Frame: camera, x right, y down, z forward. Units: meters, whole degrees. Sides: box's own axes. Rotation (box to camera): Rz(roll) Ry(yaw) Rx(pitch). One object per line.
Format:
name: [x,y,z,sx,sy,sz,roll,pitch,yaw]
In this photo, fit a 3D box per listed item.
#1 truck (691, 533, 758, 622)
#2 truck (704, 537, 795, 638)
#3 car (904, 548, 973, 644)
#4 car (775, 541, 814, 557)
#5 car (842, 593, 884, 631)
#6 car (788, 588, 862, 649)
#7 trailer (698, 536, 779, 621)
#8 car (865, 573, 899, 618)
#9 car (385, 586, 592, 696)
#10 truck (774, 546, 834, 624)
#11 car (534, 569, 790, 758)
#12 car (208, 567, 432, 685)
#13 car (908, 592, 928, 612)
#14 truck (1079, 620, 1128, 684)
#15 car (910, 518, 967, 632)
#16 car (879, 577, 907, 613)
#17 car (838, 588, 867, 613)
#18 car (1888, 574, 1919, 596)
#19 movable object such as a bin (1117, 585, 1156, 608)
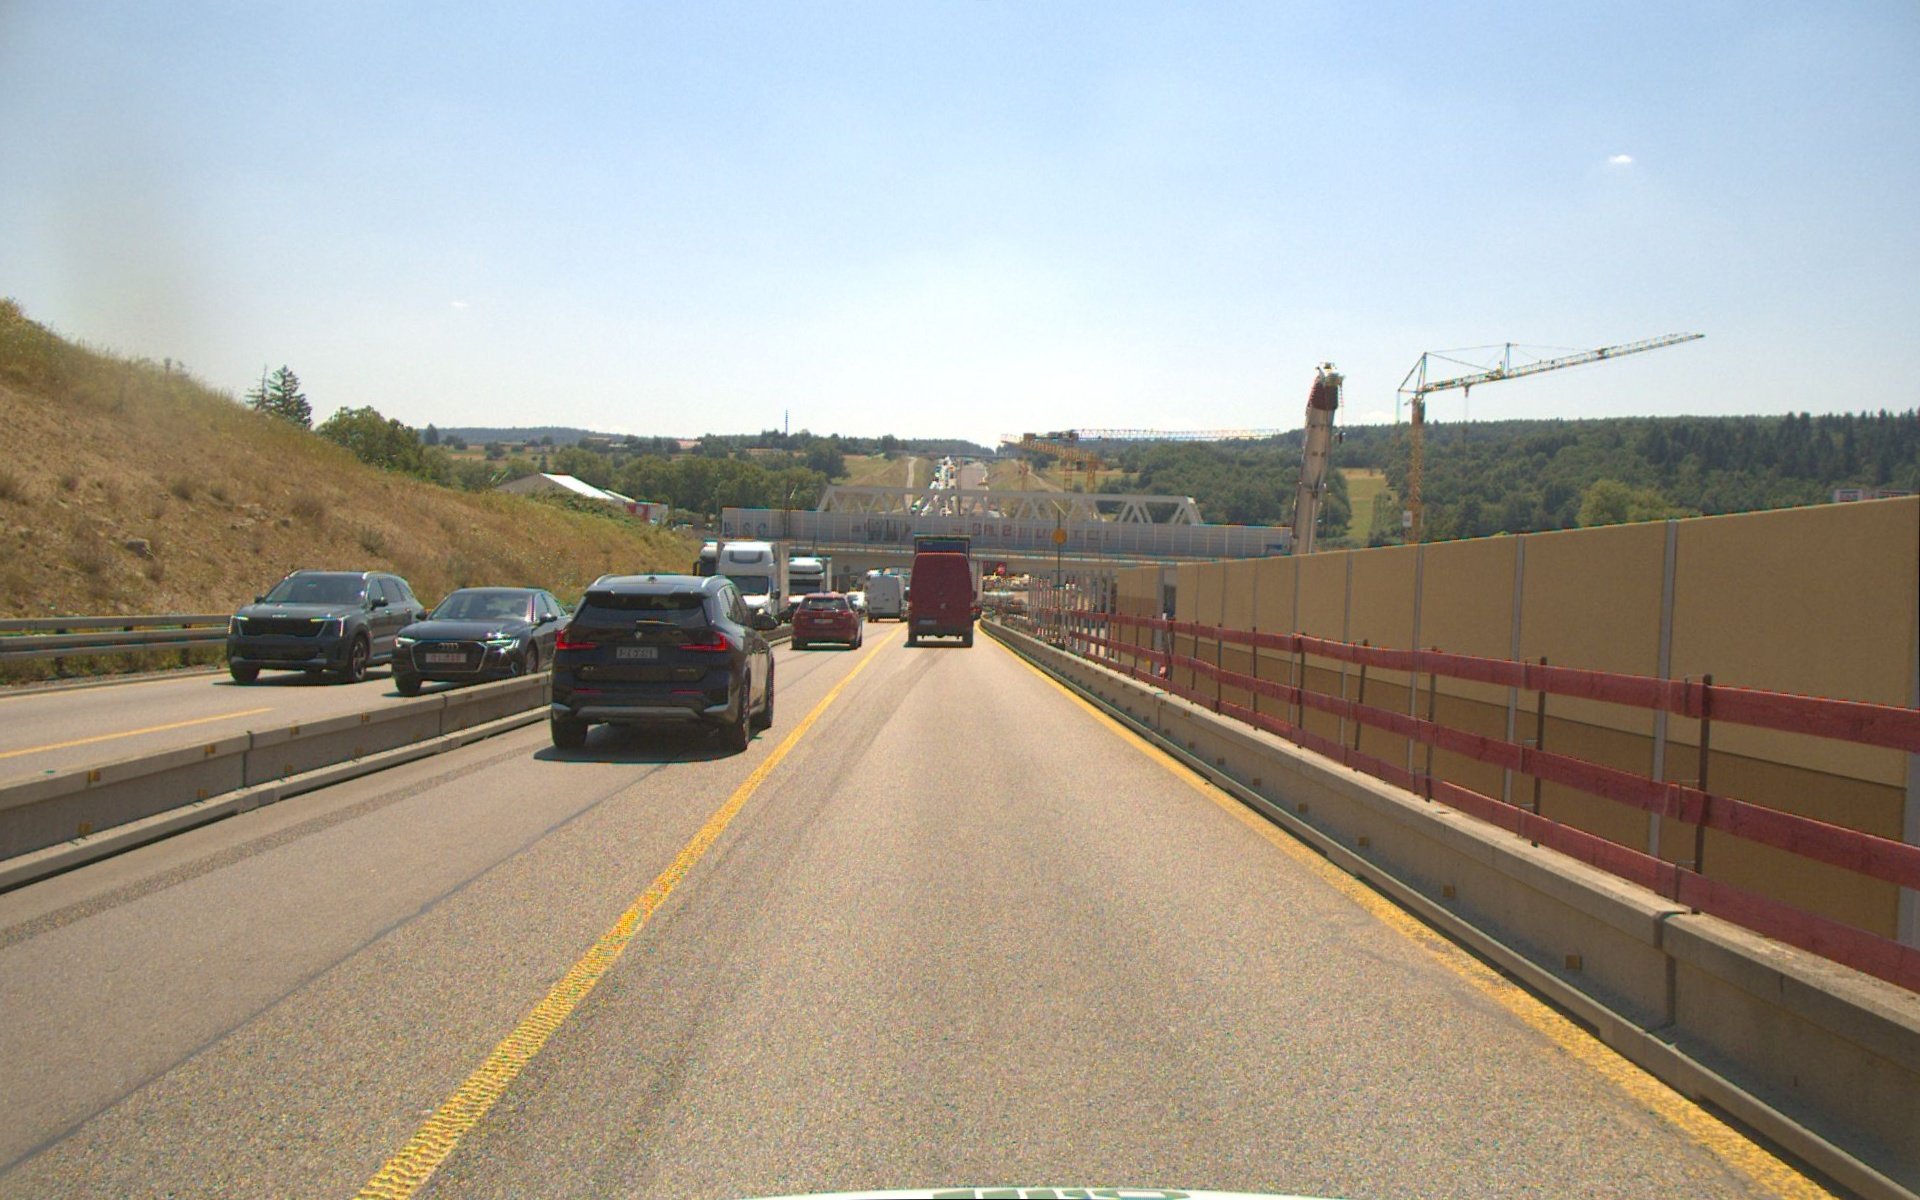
truck: [-11.276,-1.078,79.416,2.643,4.120,3.954,1,0,-2]
truck: [-7.601,-0.448,60.519,2.487,3.433,7.036,1,0,-1]
car: [-0.646,-0.137,49.553,1.948,2.737,4.622,0,0,-1]
car: [-21.037,-6.486,210.233,4.456,1.814,1.962,1,0,13]
car: [-4.490,0.530,76.775,1.802,1.683,4.163,0,1,-2]
car: [-3.607,0.465,44.741,1.740,1.544,4.205,0,0,-1]
trailer: [-11.466,-1.084,87.007,2.643,4.095,13.698,1,0,-1]
car: [-4.342,-0.263,92.236,1.740,2.484,4.205,0,0,-1]
car: [-6.867,0.540,24.639,1.760,1.452,4.948,1,0,-1]
truck: [-8.090,-0.771,86.670,2.537,3.824,7.356,1,0,-1]
car: [-2.842,0.543,16.753,1.841,1.646,4.498,0,0,-1]
car: [-10.027,0.361,26.313,1.816,1.701,4.667,1,0,-1]
car: [-3.714,0.189,145.875,1.740,1.699,4.028,0,0,-1]
truck: [9.335,3.333,108.137,2.702,3.954,5.882,1,0,0]
car: [-1.056,-1.165,79.791,2.568,5.120,10.394,0,0,-1]
car: [-4.488,-0.320,110.894,1.740,2.370,4.205,0,0,-1]
car: [-8.293,0.008,127.865,1.994,1.855,4.958,1,0,-1]
car: [68.868,-1.095,119.225,1.646,1.544,4.075,1,0,1]
movable object such as a bin: [23.193,-0.446,217.121,5.038,2.856,2.144,1,0,5]
